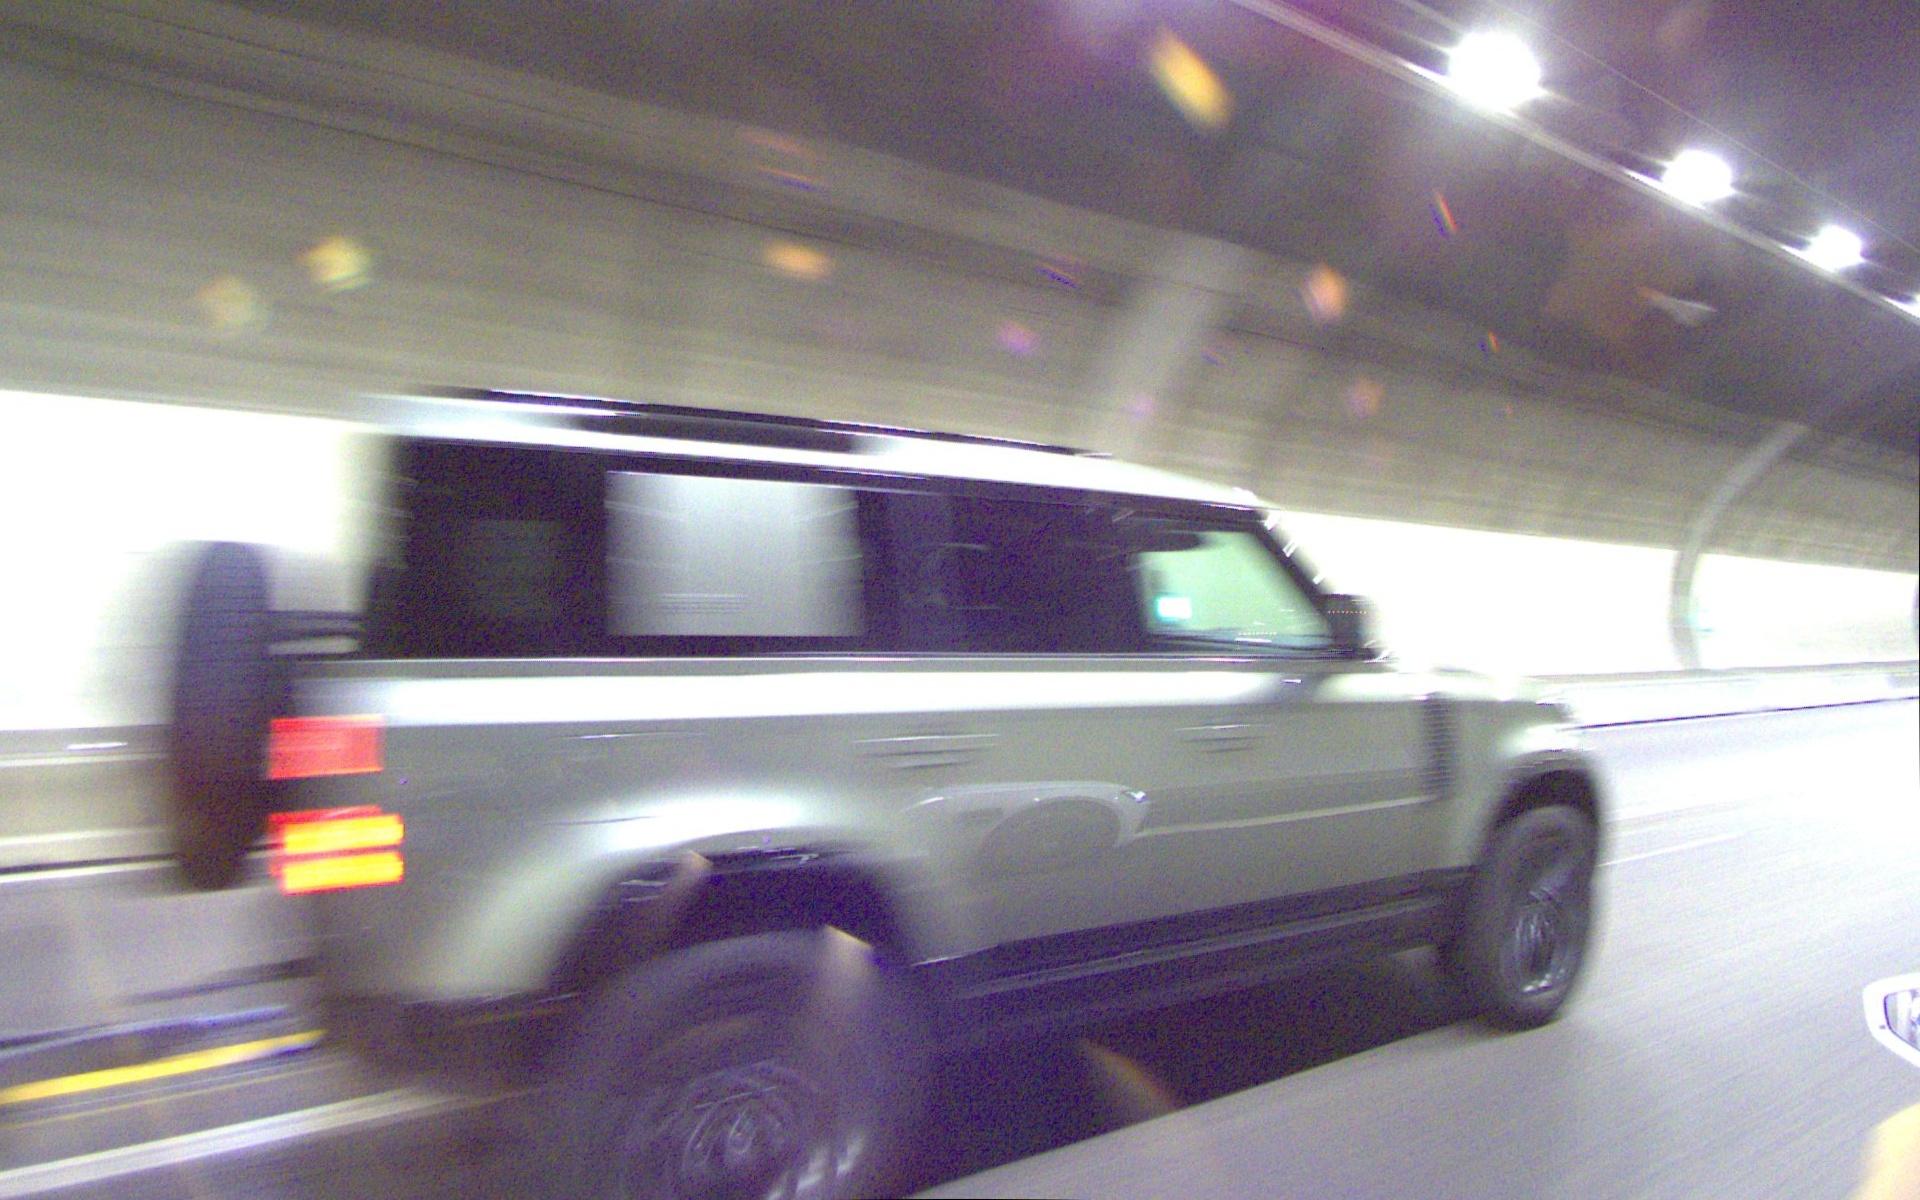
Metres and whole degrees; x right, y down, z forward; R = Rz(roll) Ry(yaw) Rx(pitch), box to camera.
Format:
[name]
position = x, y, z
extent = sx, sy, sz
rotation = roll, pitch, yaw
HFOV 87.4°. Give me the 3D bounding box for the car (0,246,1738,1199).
[car]
position = 0.248, 0.507, 3.500
extent = 5.389, 1.920, 1.984
rotation = 2, 1, -30
